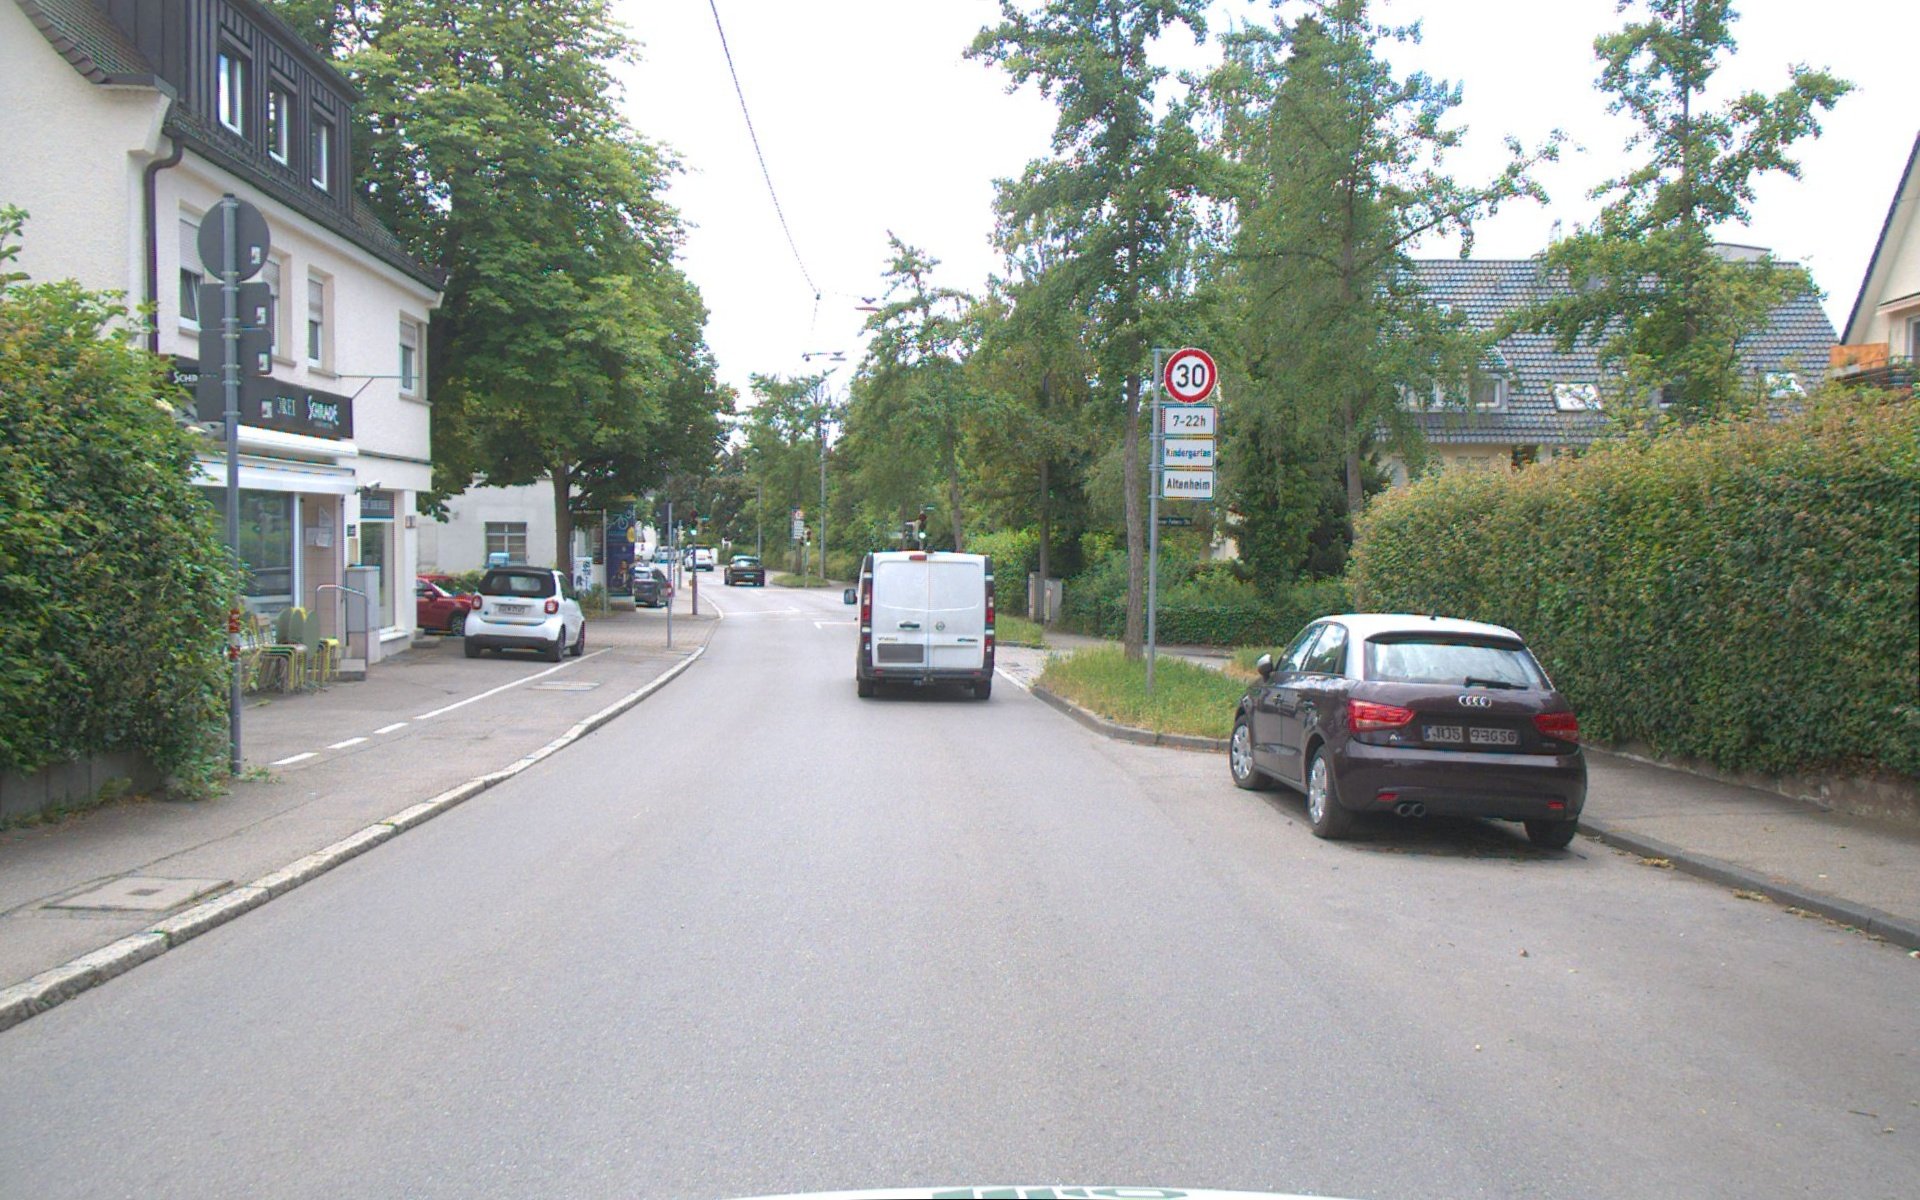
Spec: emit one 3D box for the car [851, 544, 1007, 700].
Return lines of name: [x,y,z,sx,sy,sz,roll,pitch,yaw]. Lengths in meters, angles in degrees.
car: [-0.544,0.235,23.708,1.892,1.998,4.397,1,1,-5]

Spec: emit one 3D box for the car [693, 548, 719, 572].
car: [-19.316,-3.036,125.638,1.792,1.758,3.990,1,1,-11]

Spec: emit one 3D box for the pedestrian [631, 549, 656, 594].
pedestrian: [-12.846,-1.148,67.122,0.867,1.781,0.960,3,1,-14]

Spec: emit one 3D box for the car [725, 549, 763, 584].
car: [-12.064,-1.875,92.191,1.863,1.892,4.393,1,1,-11]

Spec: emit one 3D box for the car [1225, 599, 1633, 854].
car: [3.126,0.761,11.839,1.675,1.437,3.789,2,0,-2]

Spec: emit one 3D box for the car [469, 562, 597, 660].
car: [-7.498,0.159,29.239,1.557,1.565,2.922,3,1,-3]

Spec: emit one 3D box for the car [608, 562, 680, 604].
car: [-11.713,-0.631,61.540,1.743,1.466,4.525,2,1,0]

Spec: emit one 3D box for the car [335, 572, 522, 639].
car: [-13.008,0.107,40.511,4.134,1.457,1.817,1,4,22]
